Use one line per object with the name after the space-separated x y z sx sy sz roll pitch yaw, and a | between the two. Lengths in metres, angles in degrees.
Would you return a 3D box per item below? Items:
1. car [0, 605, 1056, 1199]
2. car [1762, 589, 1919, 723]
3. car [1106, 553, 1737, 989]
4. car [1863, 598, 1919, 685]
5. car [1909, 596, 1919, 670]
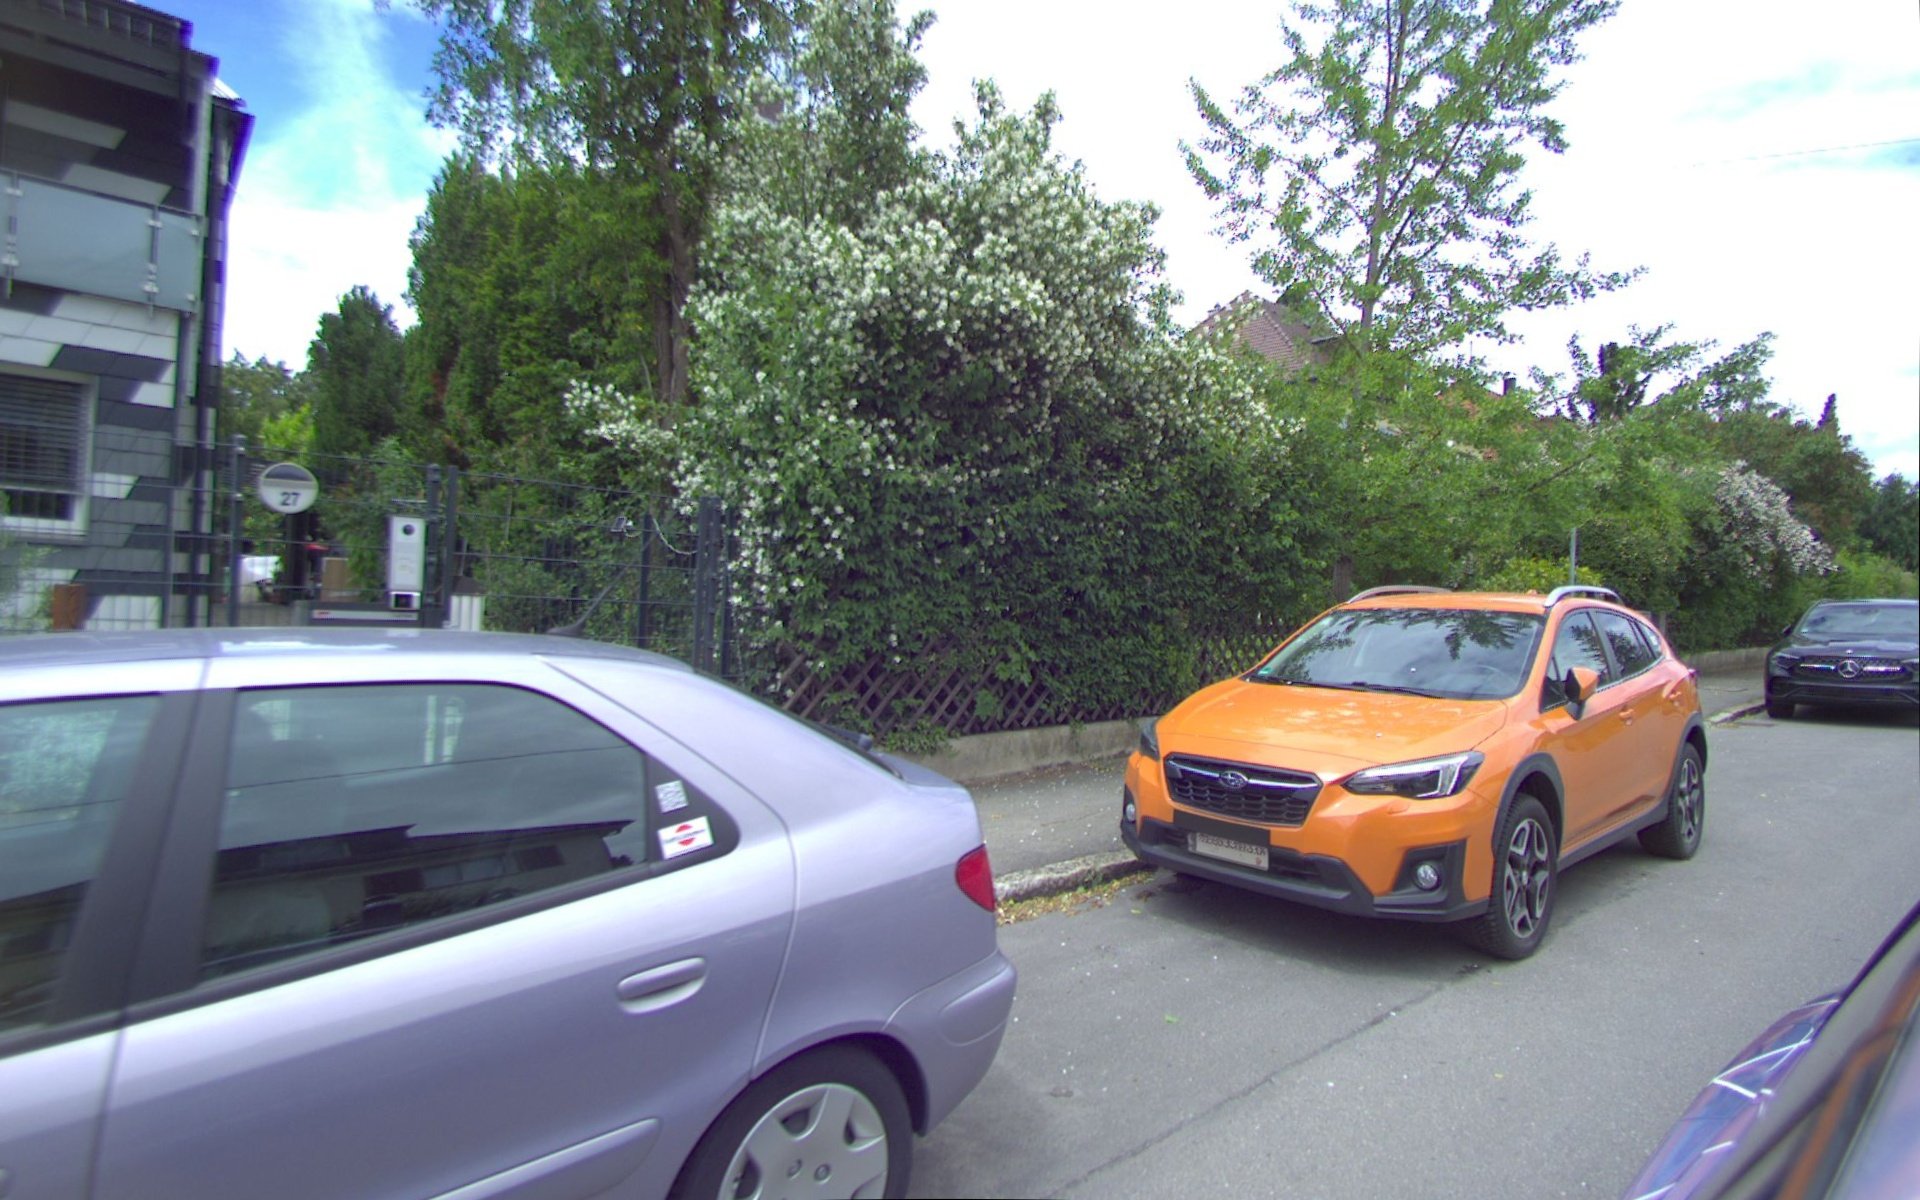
-1.909 0.731 1.697 4.161 1.399 1.719 0 1 -40 | car
13.006 0.692 14.320 4.302 1.647 1.952 0 0 -42 | car
2.890 0.644 5.893 4.097 1.647 1.853 0 0 -41 | car
18.136 0.764 18.804 2.959 1.529 1.602 1 0 -40 | car
23.260 0.763 23.078 4.066 1.612 1.805 1 1 -39 | car
